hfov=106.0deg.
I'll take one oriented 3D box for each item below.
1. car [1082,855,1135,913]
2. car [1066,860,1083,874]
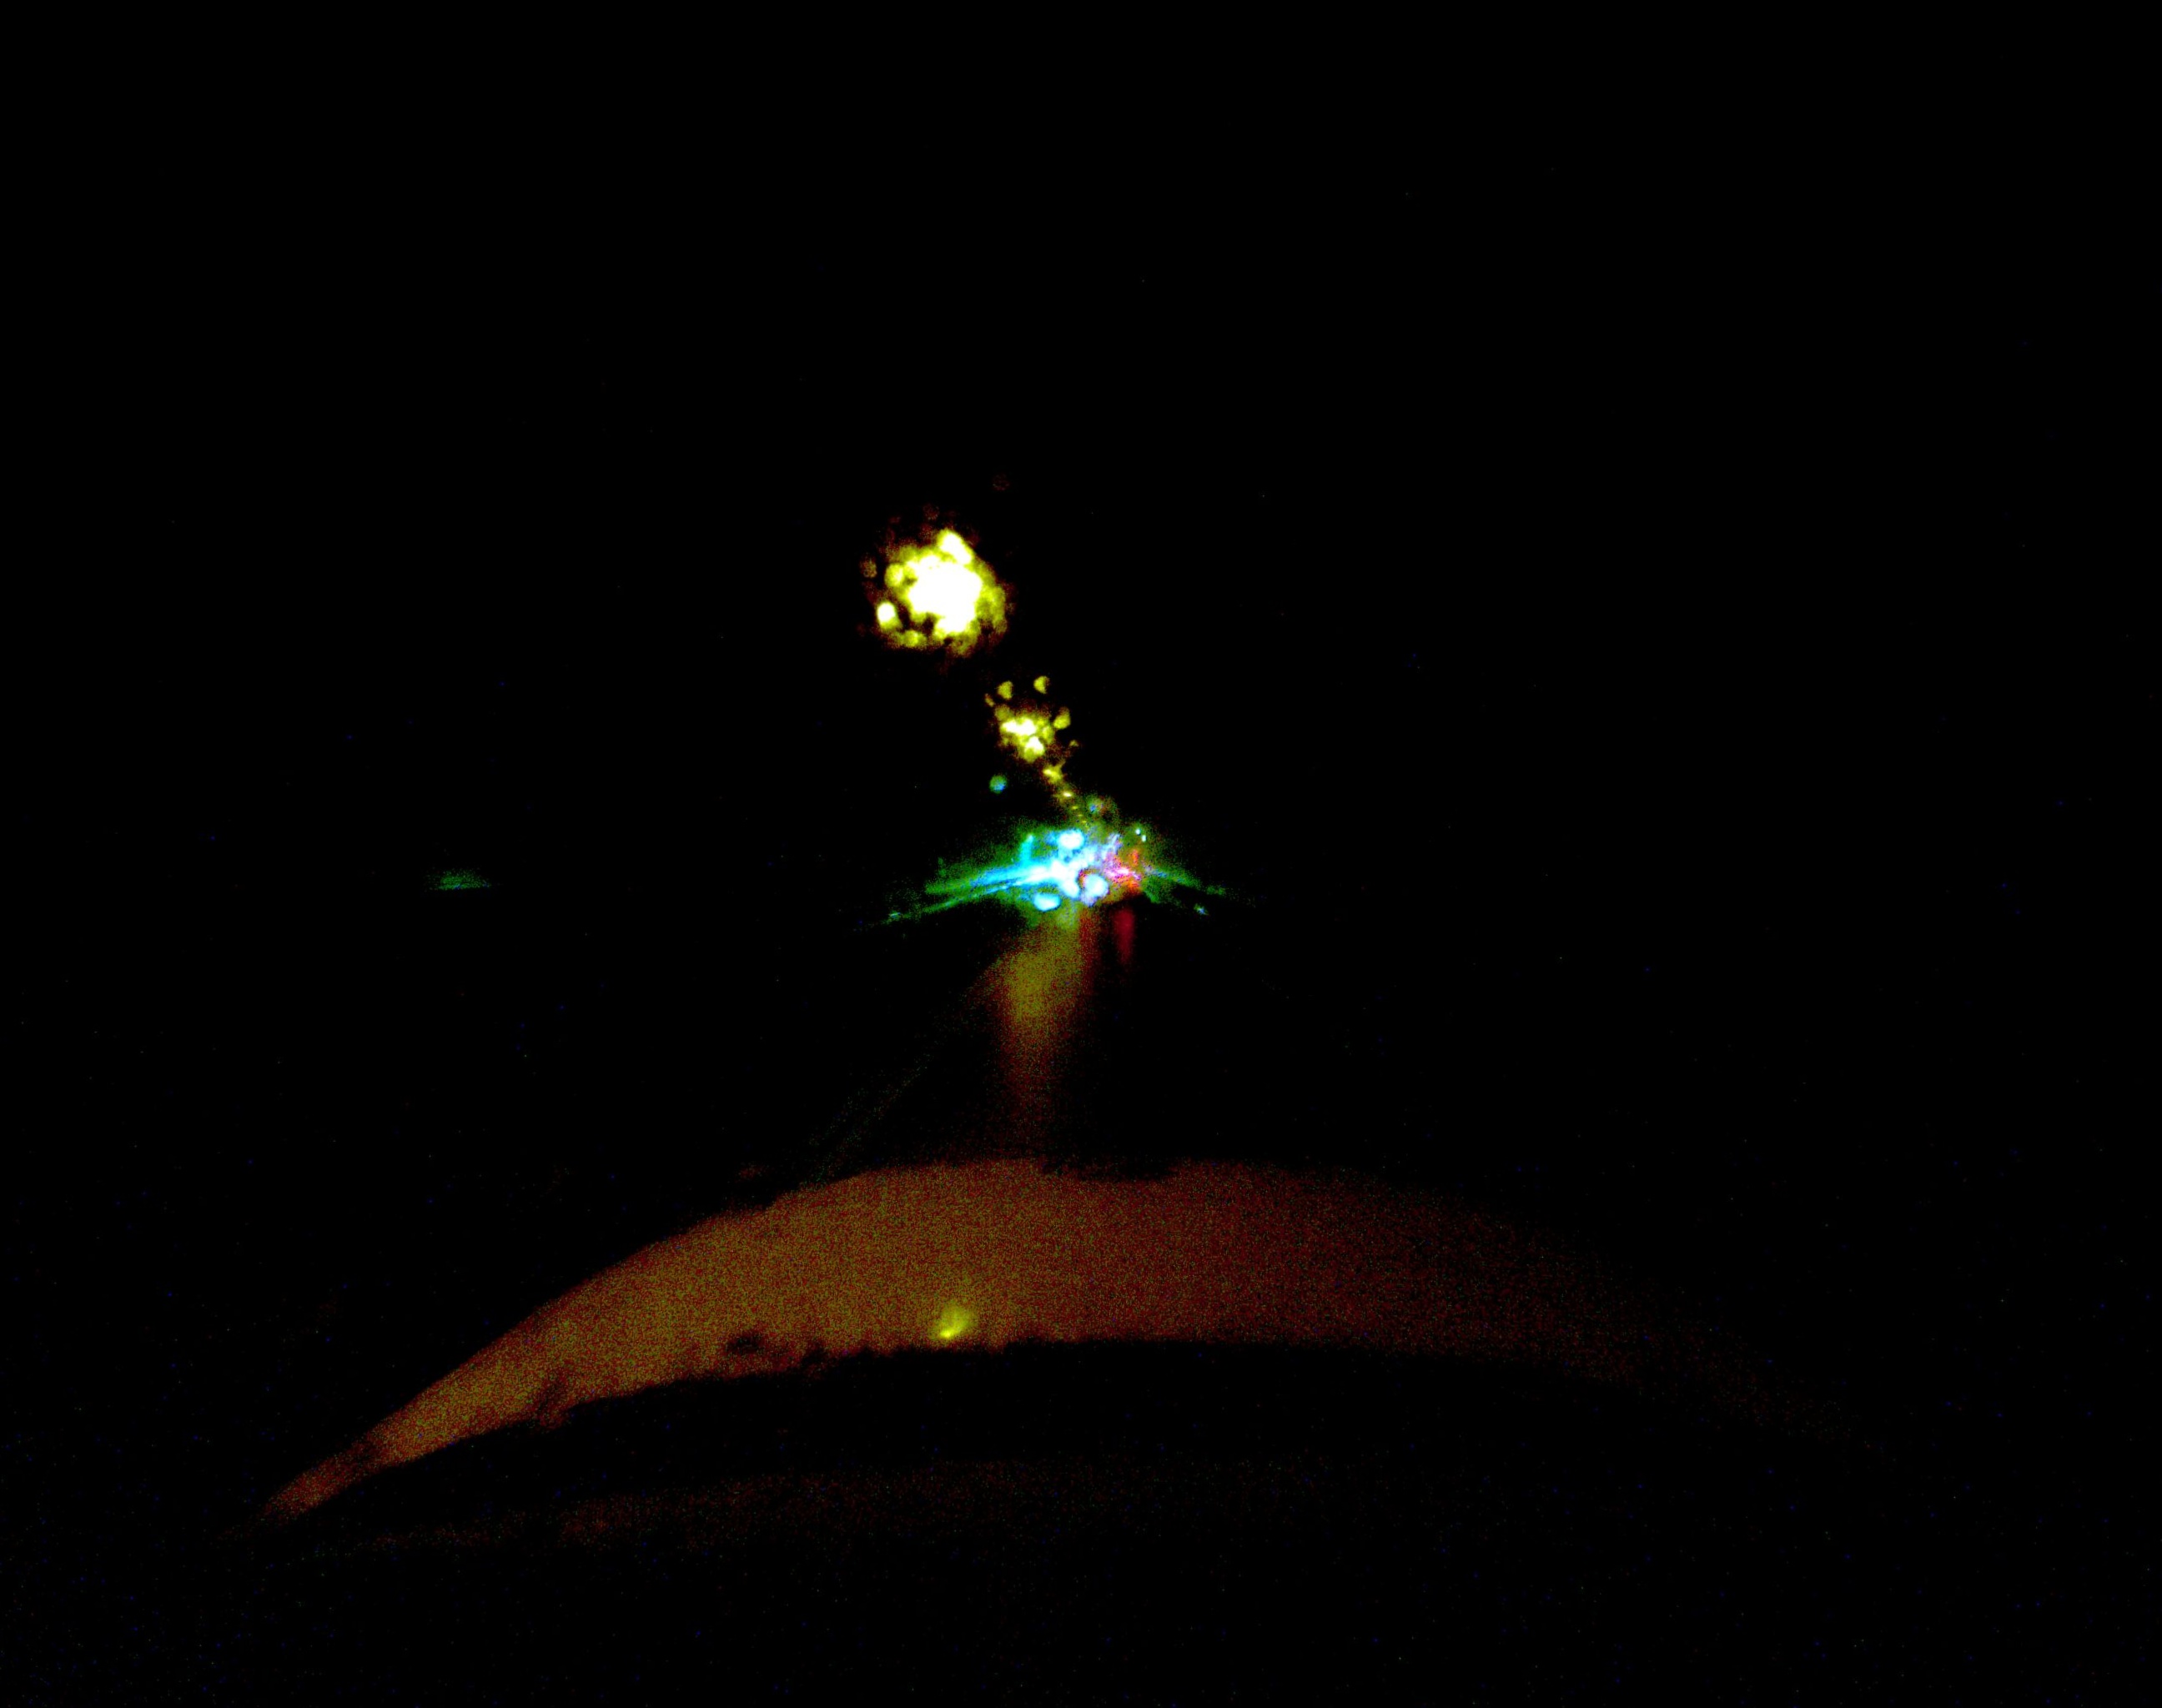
[{"bbox_3d":[0.987,0.960,28.327,1.628,1.757,4.149,-2,1,3],"label":"car"},{"bbox_3d":[-0.711,1.443,92.058,1.771,1.408,4.293,-2,1,0],"label":"car"}]
